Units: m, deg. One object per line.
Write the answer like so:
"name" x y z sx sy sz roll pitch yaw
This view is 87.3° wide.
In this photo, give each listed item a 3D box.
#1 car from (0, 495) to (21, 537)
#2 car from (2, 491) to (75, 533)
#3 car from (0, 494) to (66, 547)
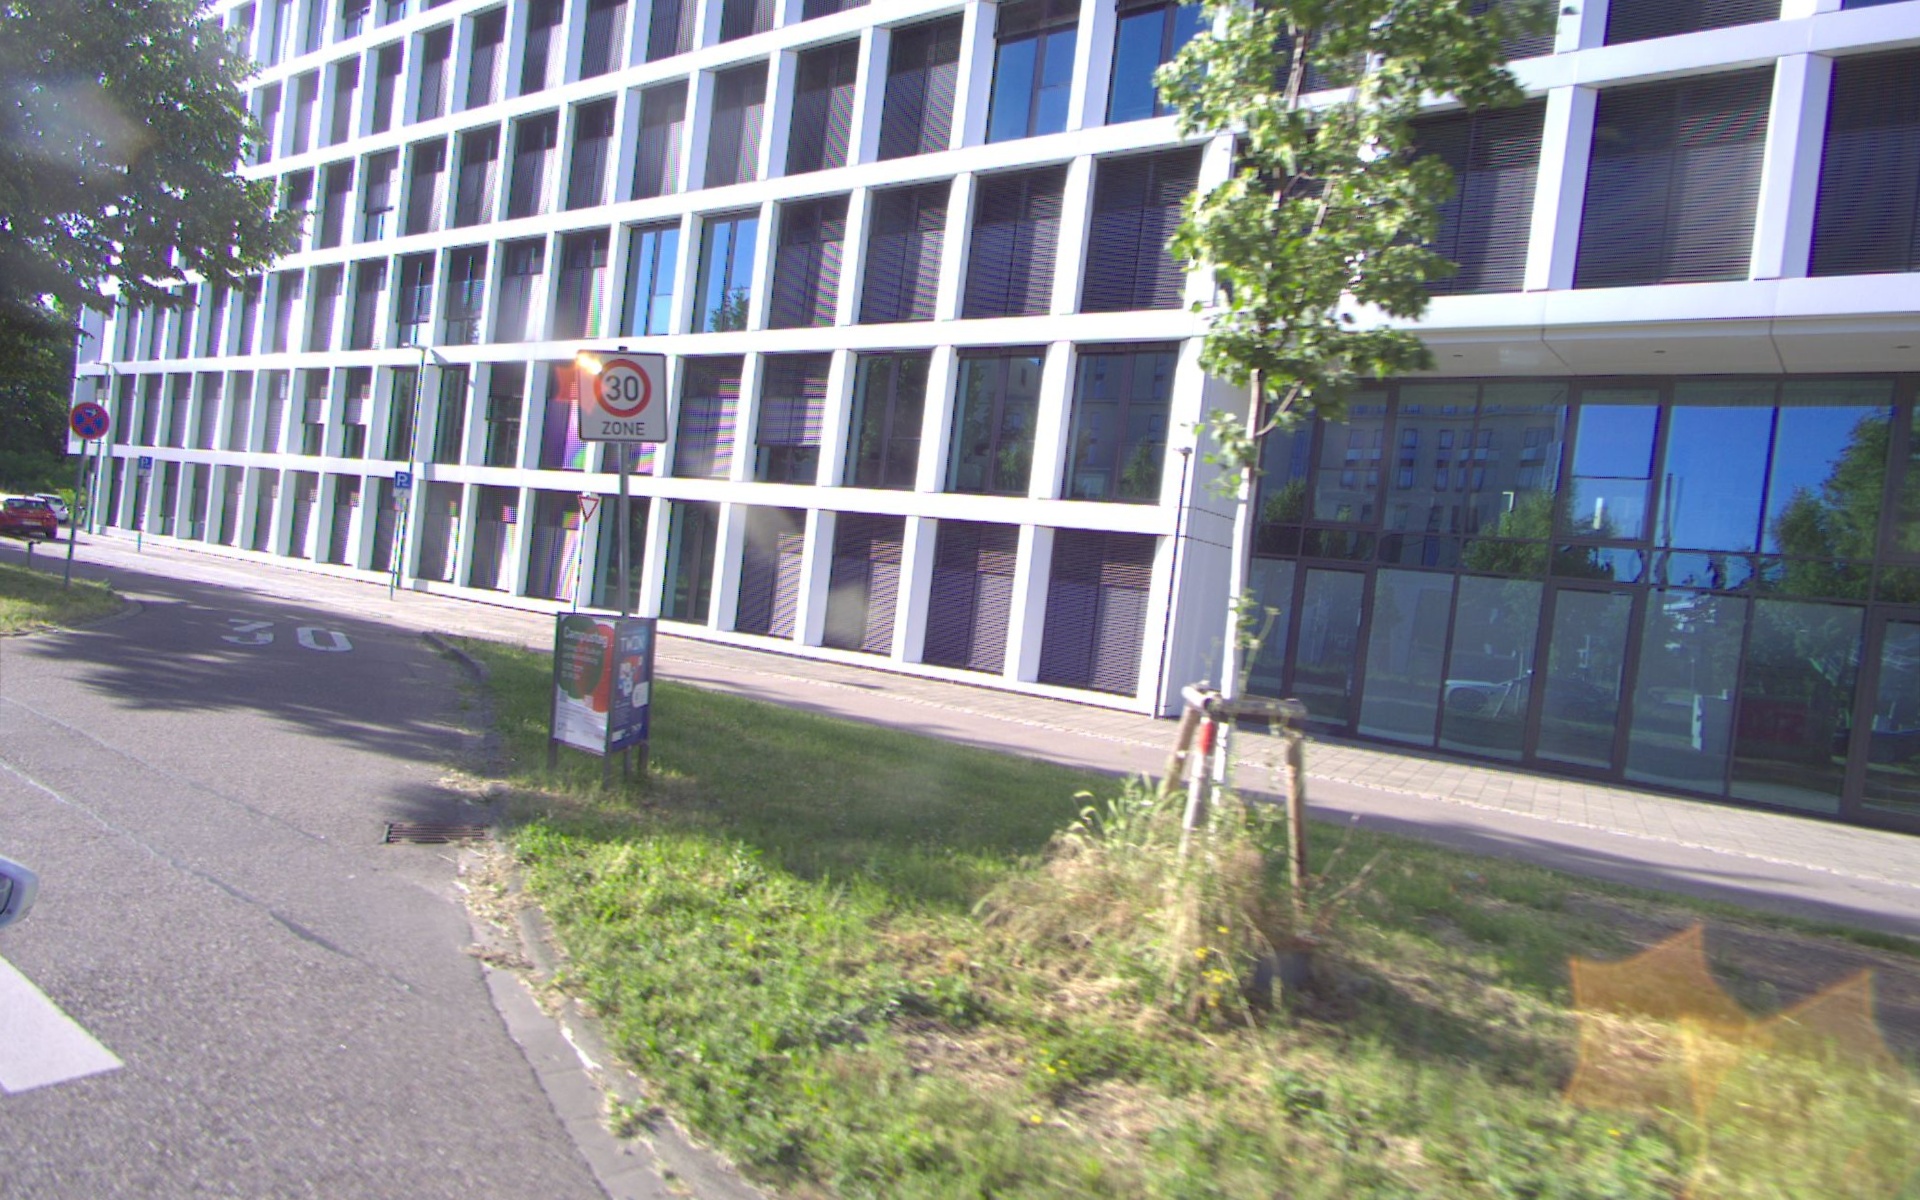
"car" -38.817 -3.468 39.753 3.383 1.551 1.820 7 0 36
"car" -50.916 -4.876 55.575 3.936 1.837 1.996 6 -1 34
"car" -34.792 -3.006 37.070 3.840 1.631 1.759 7 0 34
